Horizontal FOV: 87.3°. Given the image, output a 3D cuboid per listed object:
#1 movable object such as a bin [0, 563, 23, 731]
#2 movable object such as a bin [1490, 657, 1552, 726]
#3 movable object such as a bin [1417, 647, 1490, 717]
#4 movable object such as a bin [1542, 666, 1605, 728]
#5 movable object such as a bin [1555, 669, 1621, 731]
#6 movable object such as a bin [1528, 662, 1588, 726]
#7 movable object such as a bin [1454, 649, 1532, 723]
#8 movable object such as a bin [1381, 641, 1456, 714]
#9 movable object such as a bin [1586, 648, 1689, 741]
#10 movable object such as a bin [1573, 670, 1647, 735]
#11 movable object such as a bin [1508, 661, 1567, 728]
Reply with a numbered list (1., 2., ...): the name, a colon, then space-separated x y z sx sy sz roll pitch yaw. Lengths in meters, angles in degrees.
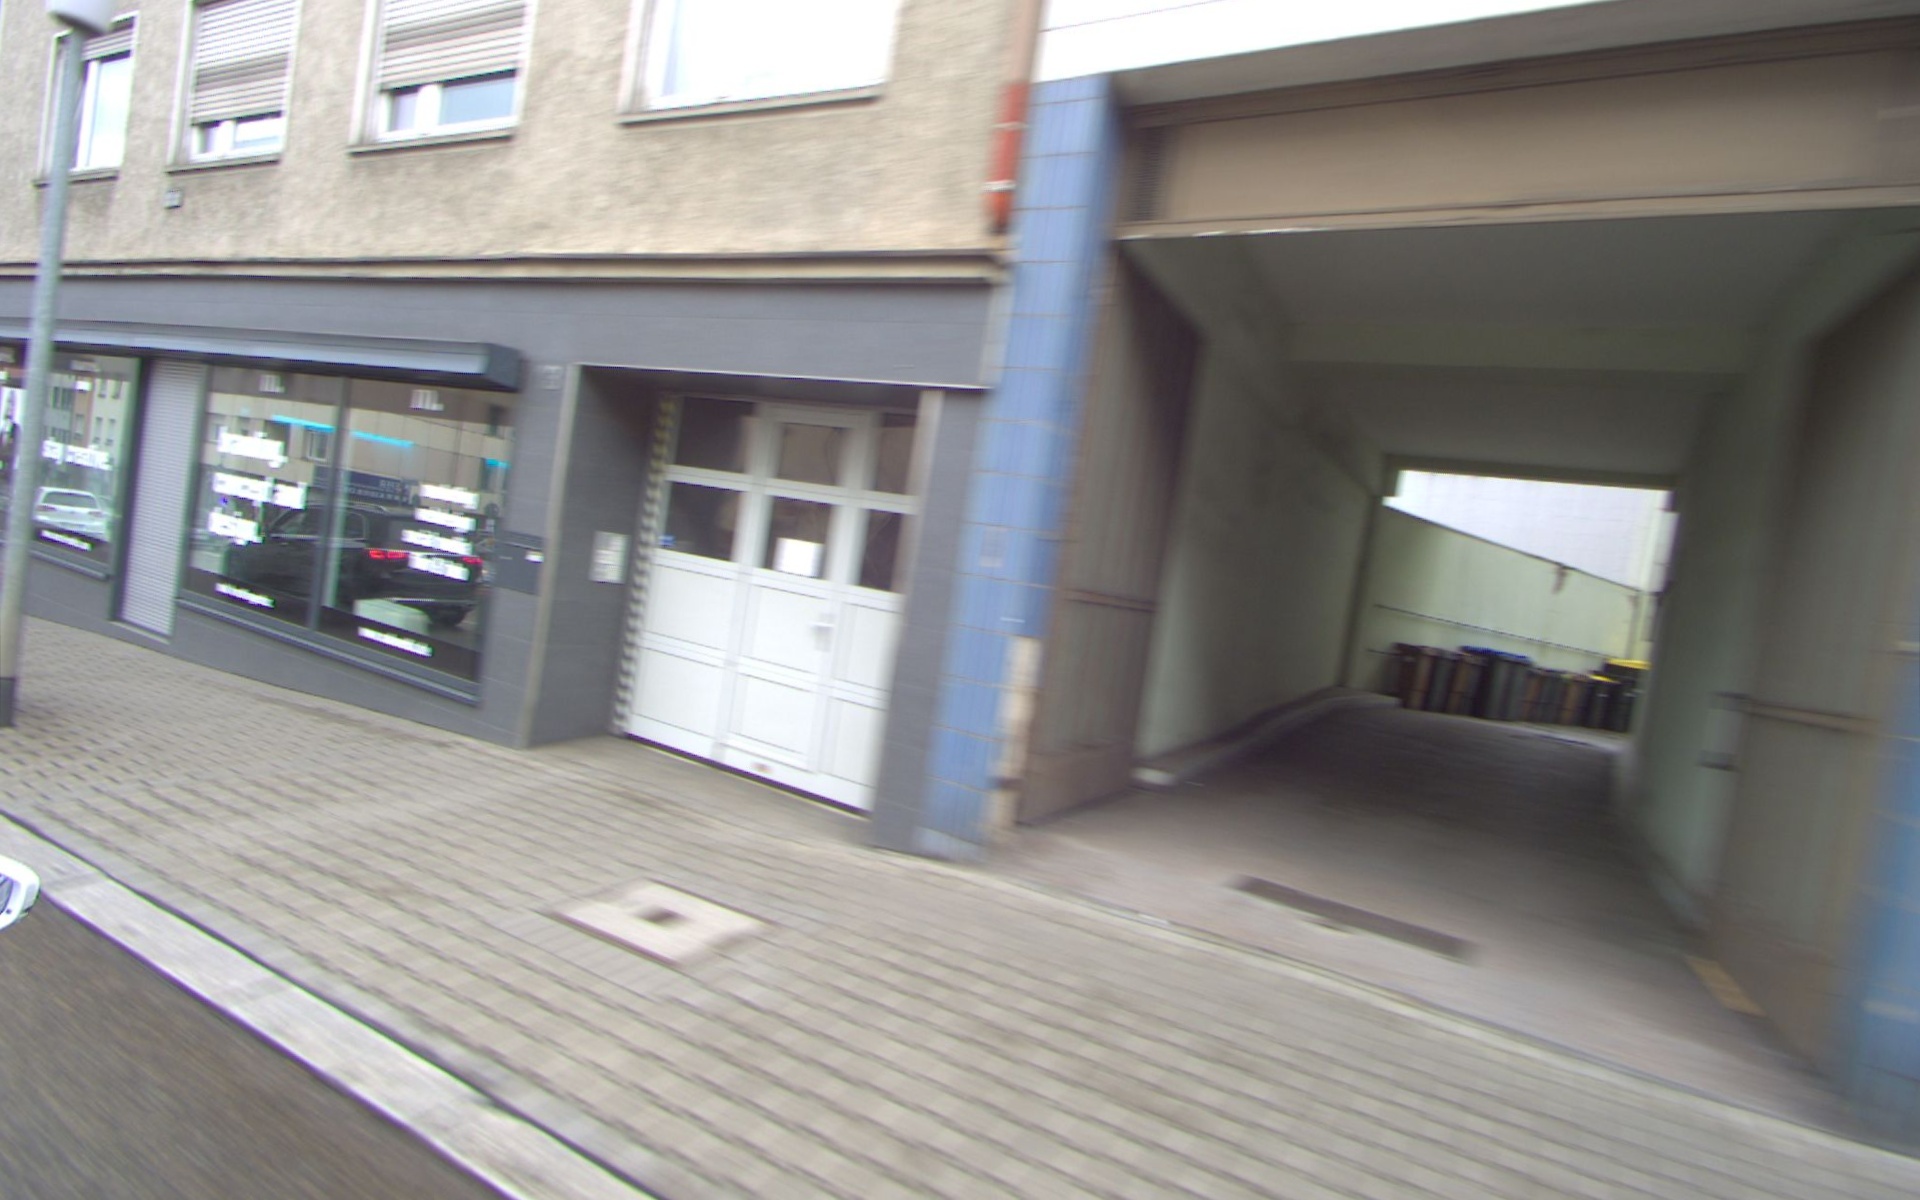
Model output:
1. movable object such as a bin: -6.072 0.253 5.985 0.528 0.962 0.525 12 3 32
2. movable object such as a bin: 9.354 1.524 16.771 0.626 1.000 0.554 9 3 -39
3. movable object such as a bin: 7.483 1.243 15.249 0.825 0.904 0.554 9 3 -39
4. movable object such as a bin: 10.903 1.724 17.874 0.626 0.953 0.633 9 3 -39
5. movable object such as a bin: 11.410 1.813 18.273 0.626 0.953 0.707 9 3 -39
6. movable object such as a bin: 10.405 1.635 17.508 0.567 0.953 0.596 9 3 -39
7. movable object such as a bin: 8.409 1.361 15.864 1.065 1.000 0.554 9 3 -39
8. movable object such as a bin: 6.724 1.139 14.742 0.838 0.904 0.554 9 3 -39
9. movable object such as a bin: 12.780 1.776 19.001 0.951 1.474 1.167 9 3 -39
10. movable object such as a bin: 12.011 1.895 18.602 0.694 1.007 0.824 9 3 -39
11. movable object such as a bin: 9.855 1.613 17.170 0.626 1.000 0.523 9 3 -39
